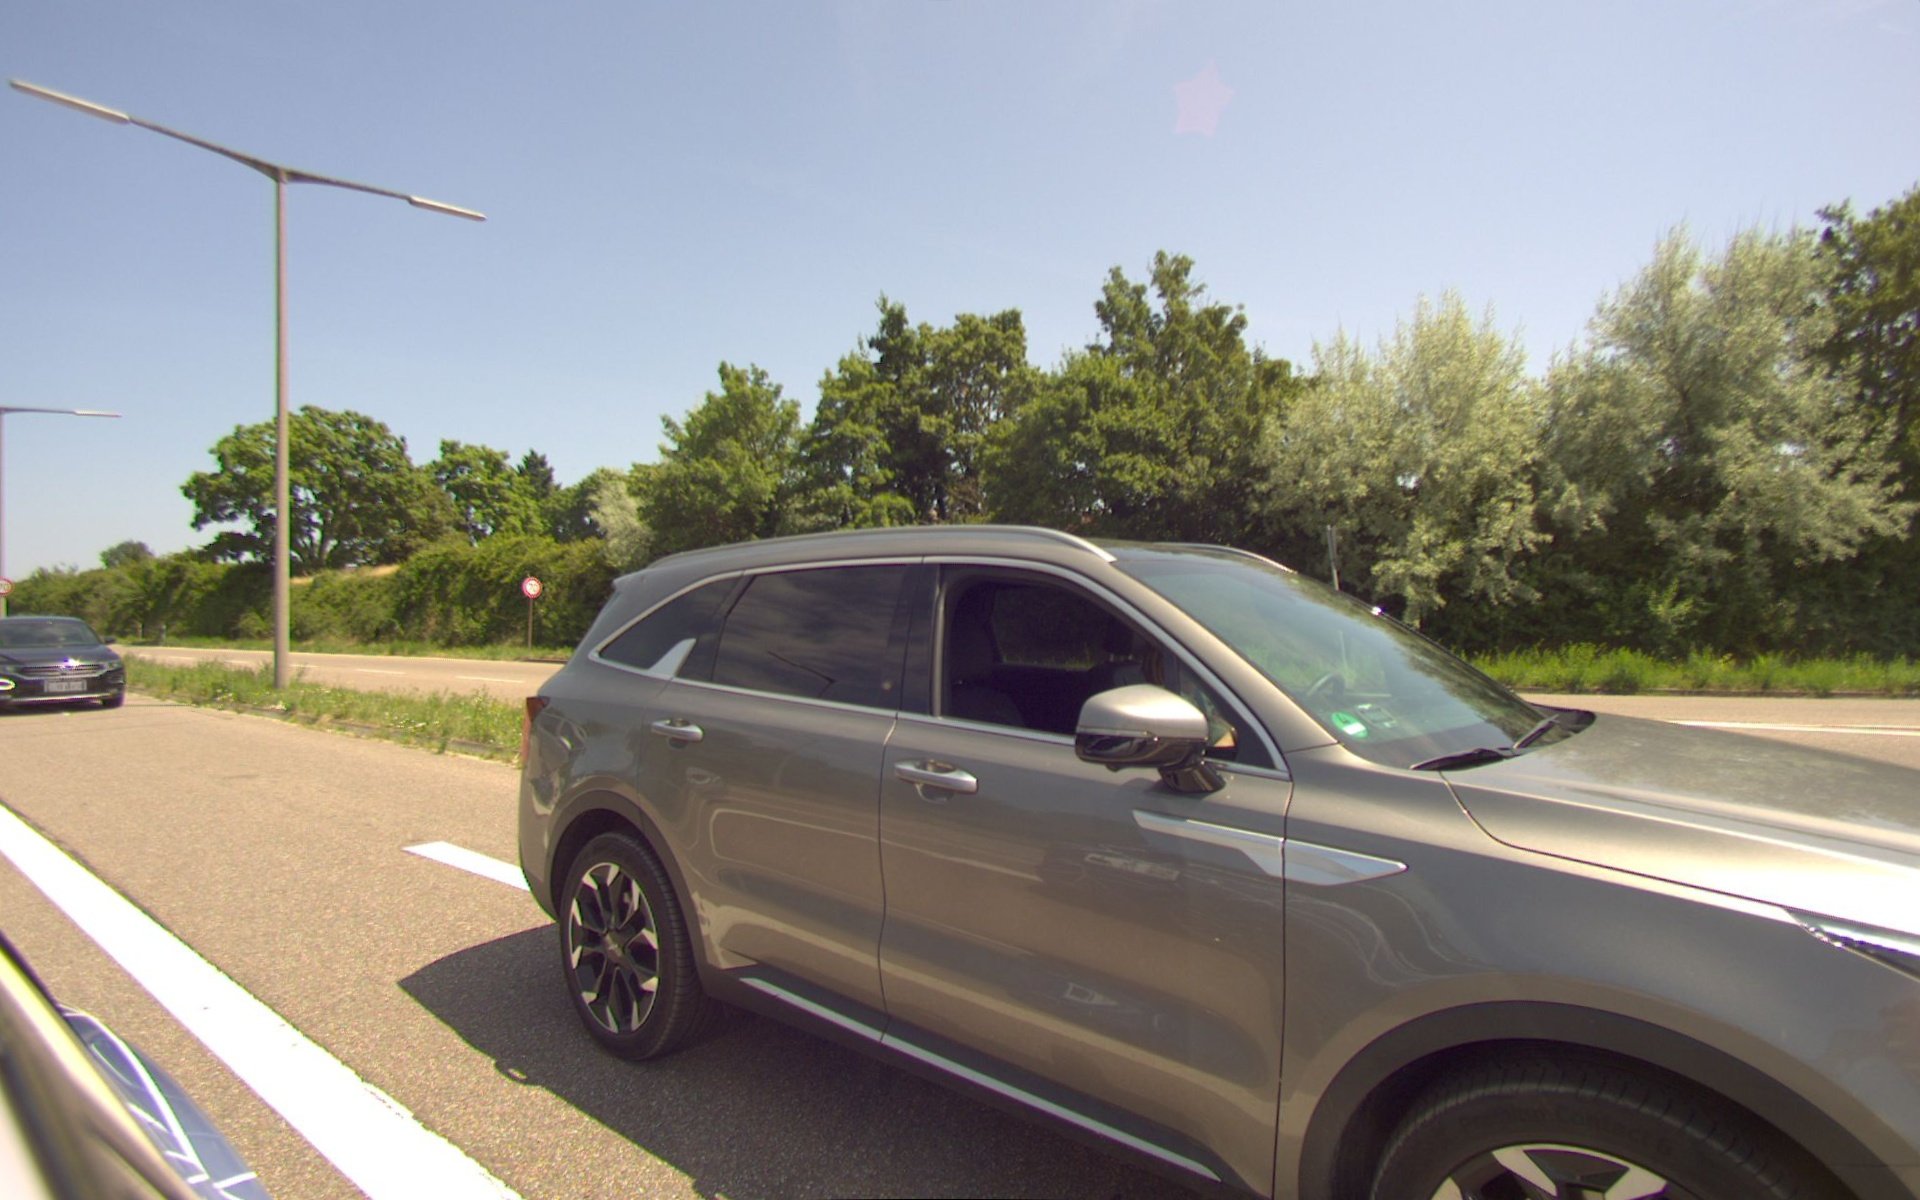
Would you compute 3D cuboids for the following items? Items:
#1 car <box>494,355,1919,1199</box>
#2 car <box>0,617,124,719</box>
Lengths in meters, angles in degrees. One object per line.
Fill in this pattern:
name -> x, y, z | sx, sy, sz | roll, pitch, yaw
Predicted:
car -> 0.547, 0.572, 2.990 | 4.528, 1.681, 1.762 | -2, -2, 40
car -> -15.564, 1.071, 16.962 | 3.997, 1.511, 1.731 | -2, -1, 40
